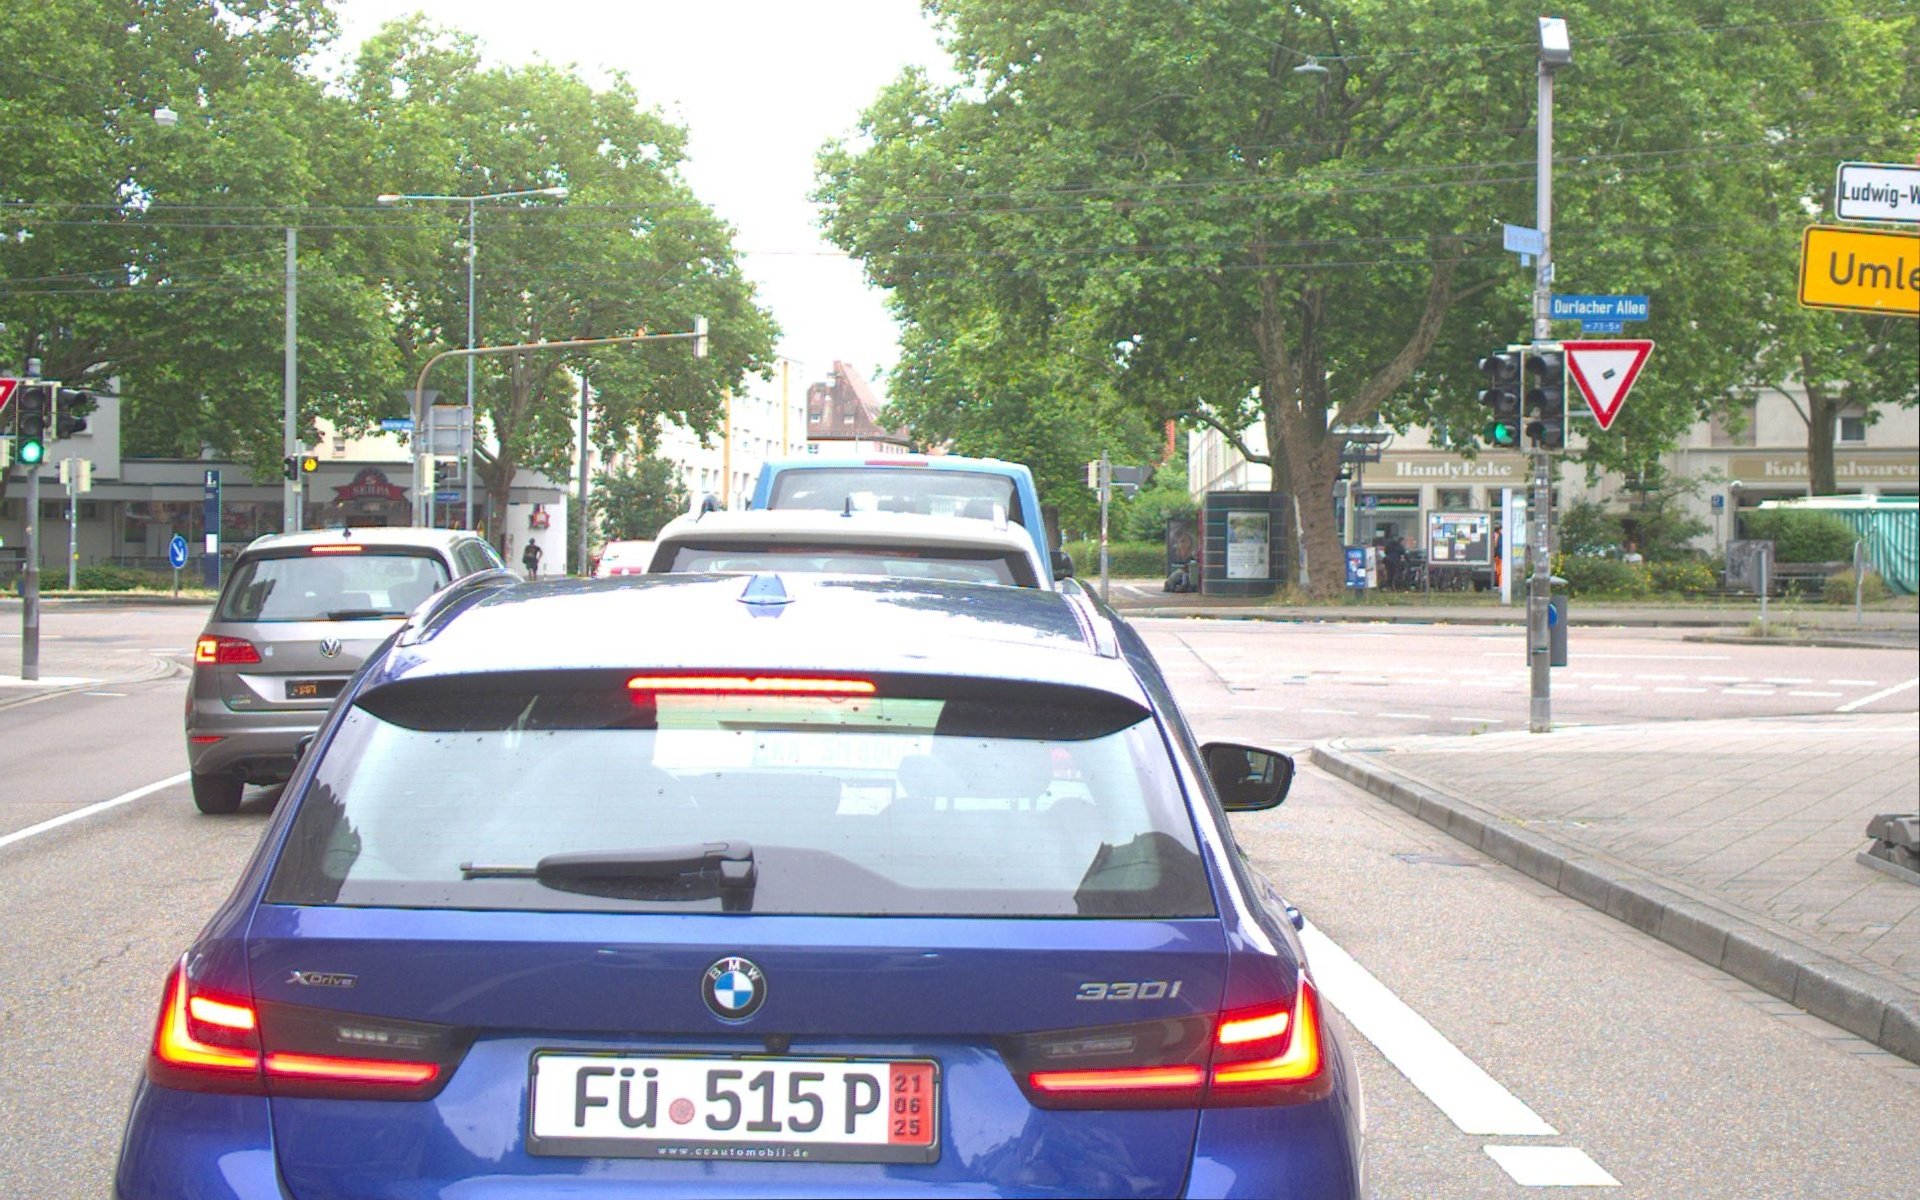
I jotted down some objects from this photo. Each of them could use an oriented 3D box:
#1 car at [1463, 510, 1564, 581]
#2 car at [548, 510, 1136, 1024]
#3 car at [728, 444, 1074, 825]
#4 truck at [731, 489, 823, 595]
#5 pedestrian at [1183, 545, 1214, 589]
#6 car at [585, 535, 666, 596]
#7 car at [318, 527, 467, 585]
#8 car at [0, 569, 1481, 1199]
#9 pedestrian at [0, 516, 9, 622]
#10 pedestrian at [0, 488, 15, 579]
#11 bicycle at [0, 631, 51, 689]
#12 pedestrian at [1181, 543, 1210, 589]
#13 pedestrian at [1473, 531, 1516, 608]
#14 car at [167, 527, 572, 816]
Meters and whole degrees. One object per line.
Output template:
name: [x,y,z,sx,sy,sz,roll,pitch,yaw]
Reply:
car: [17.316,-1.701,107.395,2.177,2.193,3.995,1,1,24]
car: [-0.389,0.476,12.644,1.815,1.586,4.000,0,1,-1]
car: [-0.335,0.140,20.096,1.815,1.998,4.000,0,1,-1]
truck: [-4.272,-1.397,80.961,2.074,2.400,5.463,0,1,-2]
pedestrian: [7.158,-0.986,103.059,0.853,1.310,0.763,0,1,0]
car: [-8.070,-0.844,83.107,1.649,1.442,3.511,0,1,-1]
car: [-17.243,-1.333,104.452,3.987,1.700,2.000,0,1,-34]
car: [-0.308,0.674,6.289,1.815,1.400,4.320,0,1,-1]
pedestrian: [-18.436,-0.593,65.188,0.625,2.007,0.617,1,0,-2]
pedestrian: [-19.026,-1.301,67.352,0.676,1.765,0.724,1,1,41]
bicycle: [-9.915,0.508,33.400,1.886,0.443,1.029,6,2,-2]
pedestrian: [7.126,-1.029,104.009,0.817,1.367,0.763,0,1,0]
pedestrian: [12.098,-0.692,77.843,0.784,1.737,0.925,0,1,-2]
car: [-3.345,0.336,20.170,1.732,1.519,4.000,0,1,-1]
